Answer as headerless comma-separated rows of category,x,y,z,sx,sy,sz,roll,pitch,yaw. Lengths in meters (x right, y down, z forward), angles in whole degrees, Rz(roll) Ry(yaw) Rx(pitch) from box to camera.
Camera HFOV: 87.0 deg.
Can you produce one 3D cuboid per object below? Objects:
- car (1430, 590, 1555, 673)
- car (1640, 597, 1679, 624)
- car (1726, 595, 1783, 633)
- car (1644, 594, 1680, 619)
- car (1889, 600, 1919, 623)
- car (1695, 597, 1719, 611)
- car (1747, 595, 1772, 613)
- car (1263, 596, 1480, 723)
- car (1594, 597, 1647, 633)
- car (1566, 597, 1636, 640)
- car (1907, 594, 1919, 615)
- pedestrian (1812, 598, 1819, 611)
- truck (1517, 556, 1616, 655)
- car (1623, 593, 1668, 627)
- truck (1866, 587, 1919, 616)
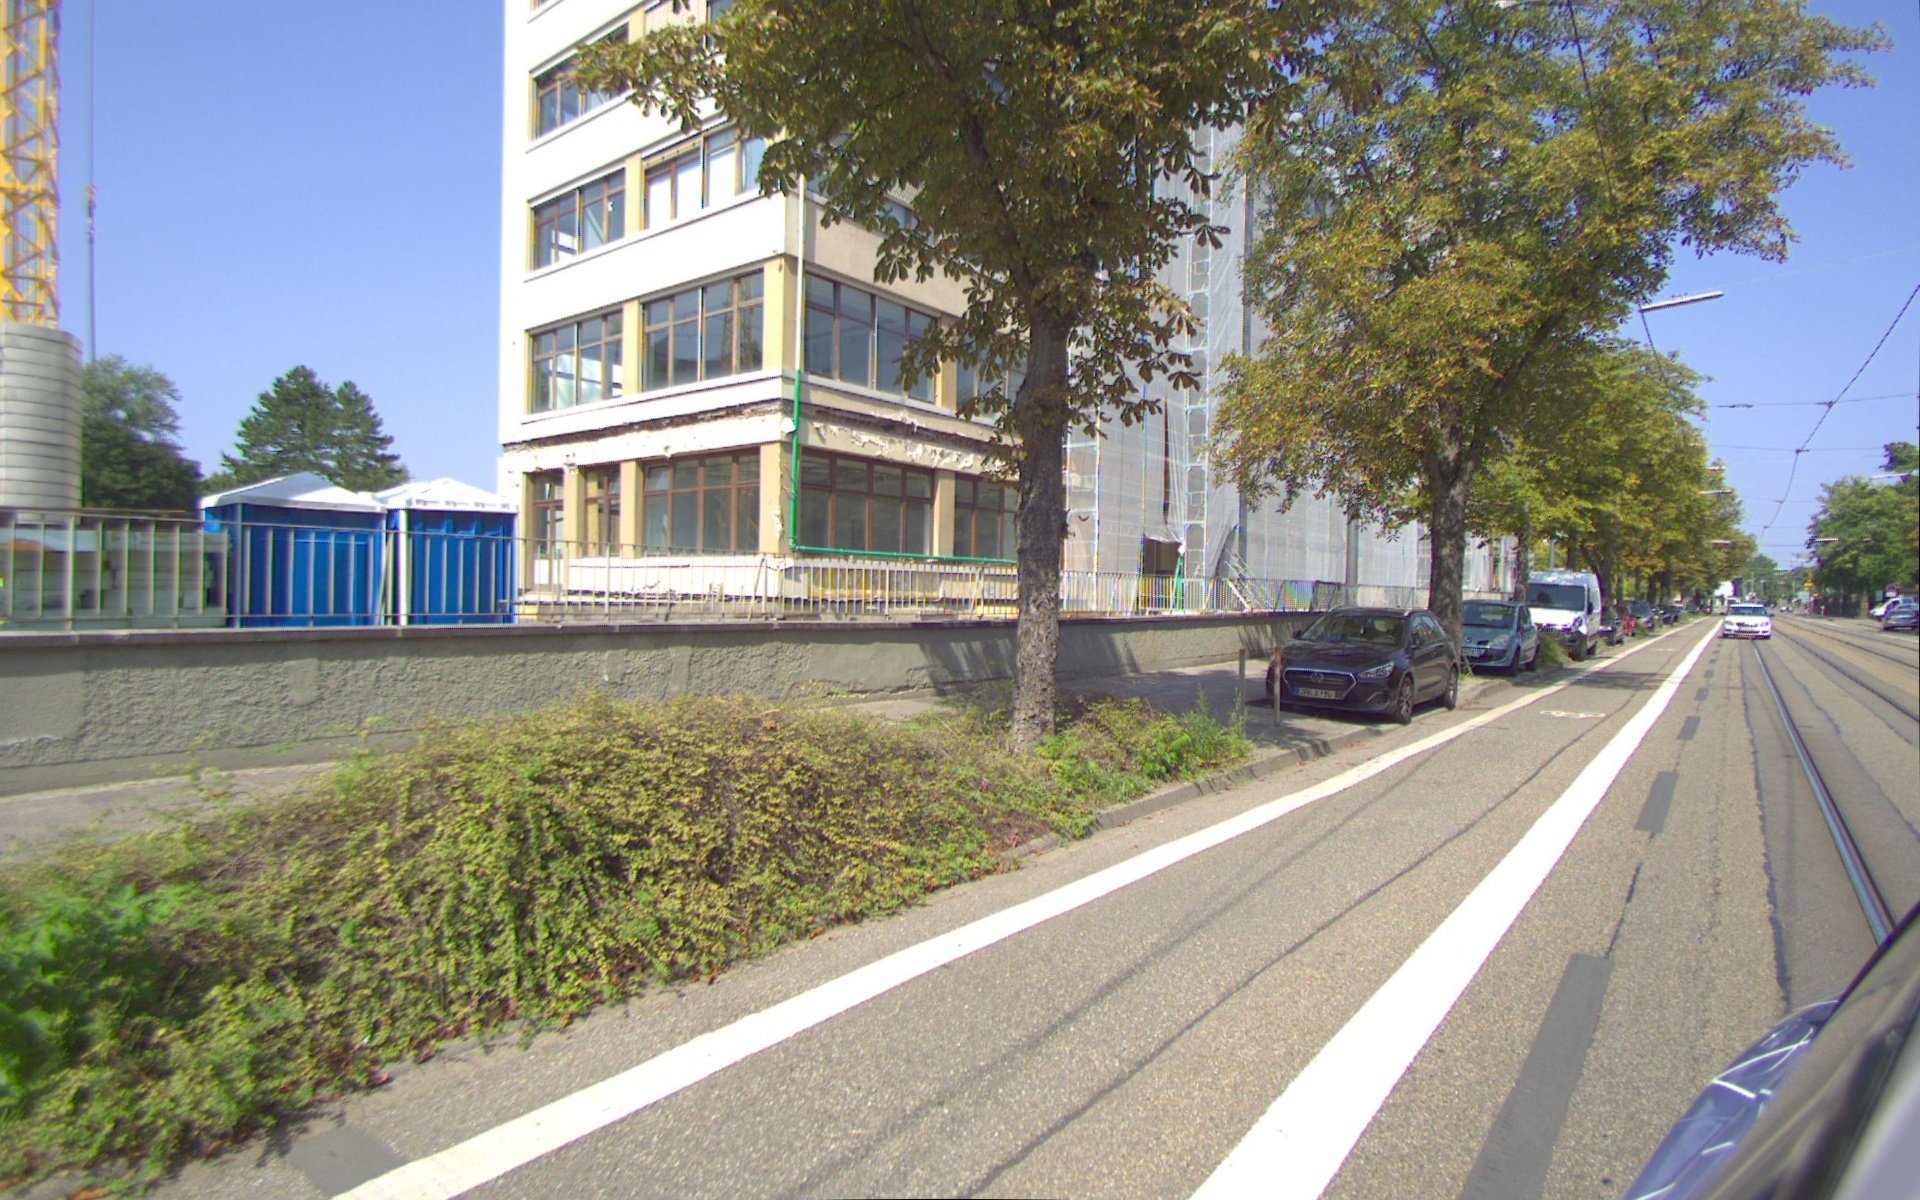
car,11.895,0.609,22.481,1.671,1.599,4.114,3,2,38
car,42.968,0.606,62.107,1.682,1.590,3.943,1,0,39
car,34.251,0.584,43.640,1.816,1.511,3.963,2,1,38
car,48.107,0.450,69.342,1.639,1.590,4.024,3,1,39
car,65.327,0.799,69.595,1.933,1.521,4.447,1,1,41
car,85.735,0.412,116.141,1.990,1.549,3.943,1,0,39
car,70.272,0.348,89.005,1.670,1.504,3.726,2,1,38
car,6.058,0.716,14.560,1.671,1.476,4.599,2,1,38
car,30.032,0.657,45.948,1.682,1.519,4.075,1,1,38
car,23.836,0.634,37.578,1.682,1.458,4.736,1,1,39
car,88.741,0.299,91.498,4.391,1.821,1.970,-5,-3,41
pedestrian,119.657,0.632,141.508,0.733,1.871,0.816,0,0,39
truck,17.856,0.113,29.683,1.912,2.631,5.517,1,1,37
car,36.589,0.495,53.951,1.758,1.710,4.586,1,0,37
truck,91.295,0.044,96.898,6.481,2.558,2.284,-4,-3,40
